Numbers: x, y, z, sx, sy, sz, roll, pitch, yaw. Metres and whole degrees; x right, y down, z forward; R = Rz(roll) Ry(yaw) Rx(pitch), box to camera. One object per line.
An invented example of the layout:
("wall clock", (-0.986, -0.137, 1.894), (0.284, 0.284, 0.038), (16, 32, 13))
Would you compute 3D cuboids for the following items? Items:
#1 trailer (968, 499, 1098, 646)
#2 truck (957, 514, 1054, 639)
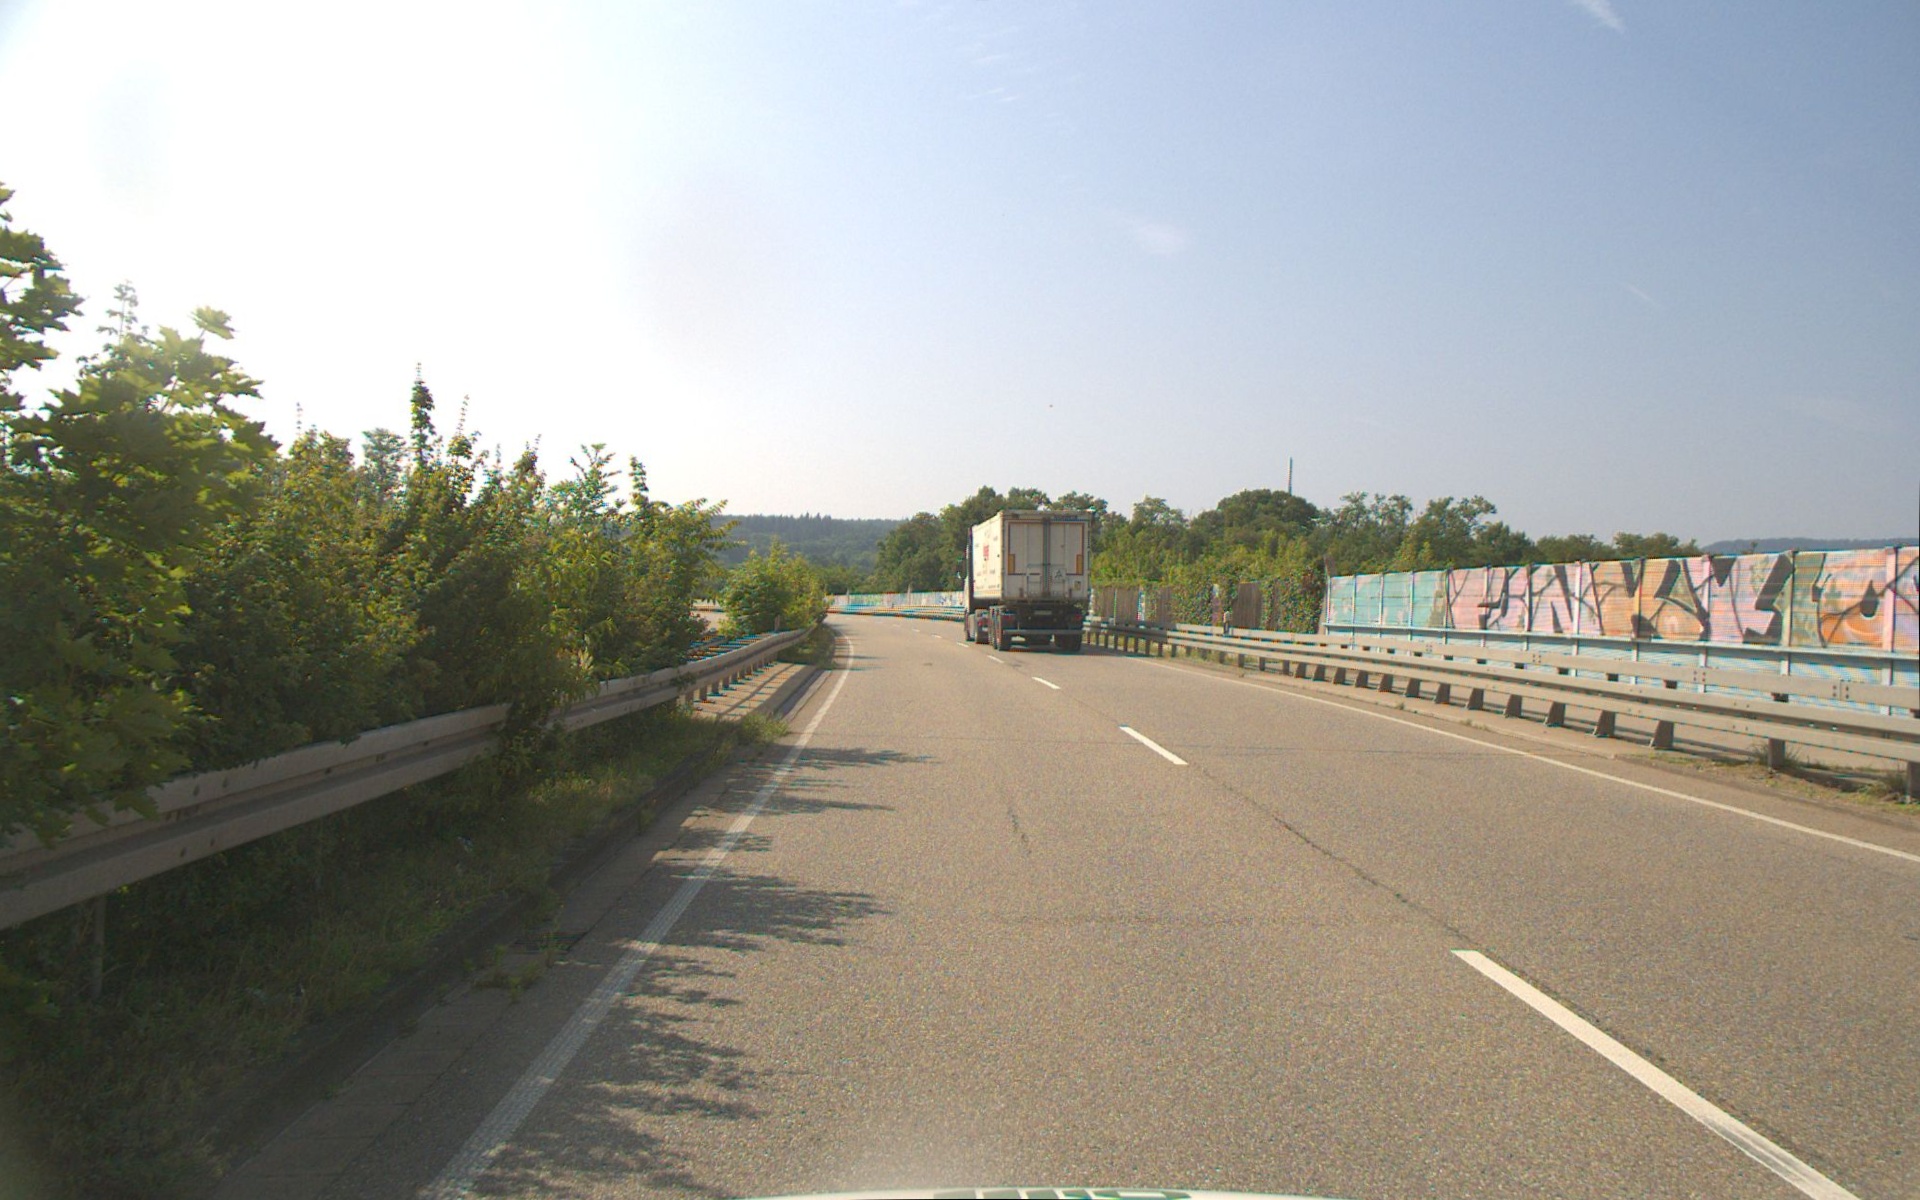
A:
("trailer", (2.026, -0.751, 50.038), (2.627, 3.975, 9.662), (1, 0, -5))
("truck", (1.466, -0.784, 56.086), (2.607, 3.964, 5.642), (1, 0, -5))
